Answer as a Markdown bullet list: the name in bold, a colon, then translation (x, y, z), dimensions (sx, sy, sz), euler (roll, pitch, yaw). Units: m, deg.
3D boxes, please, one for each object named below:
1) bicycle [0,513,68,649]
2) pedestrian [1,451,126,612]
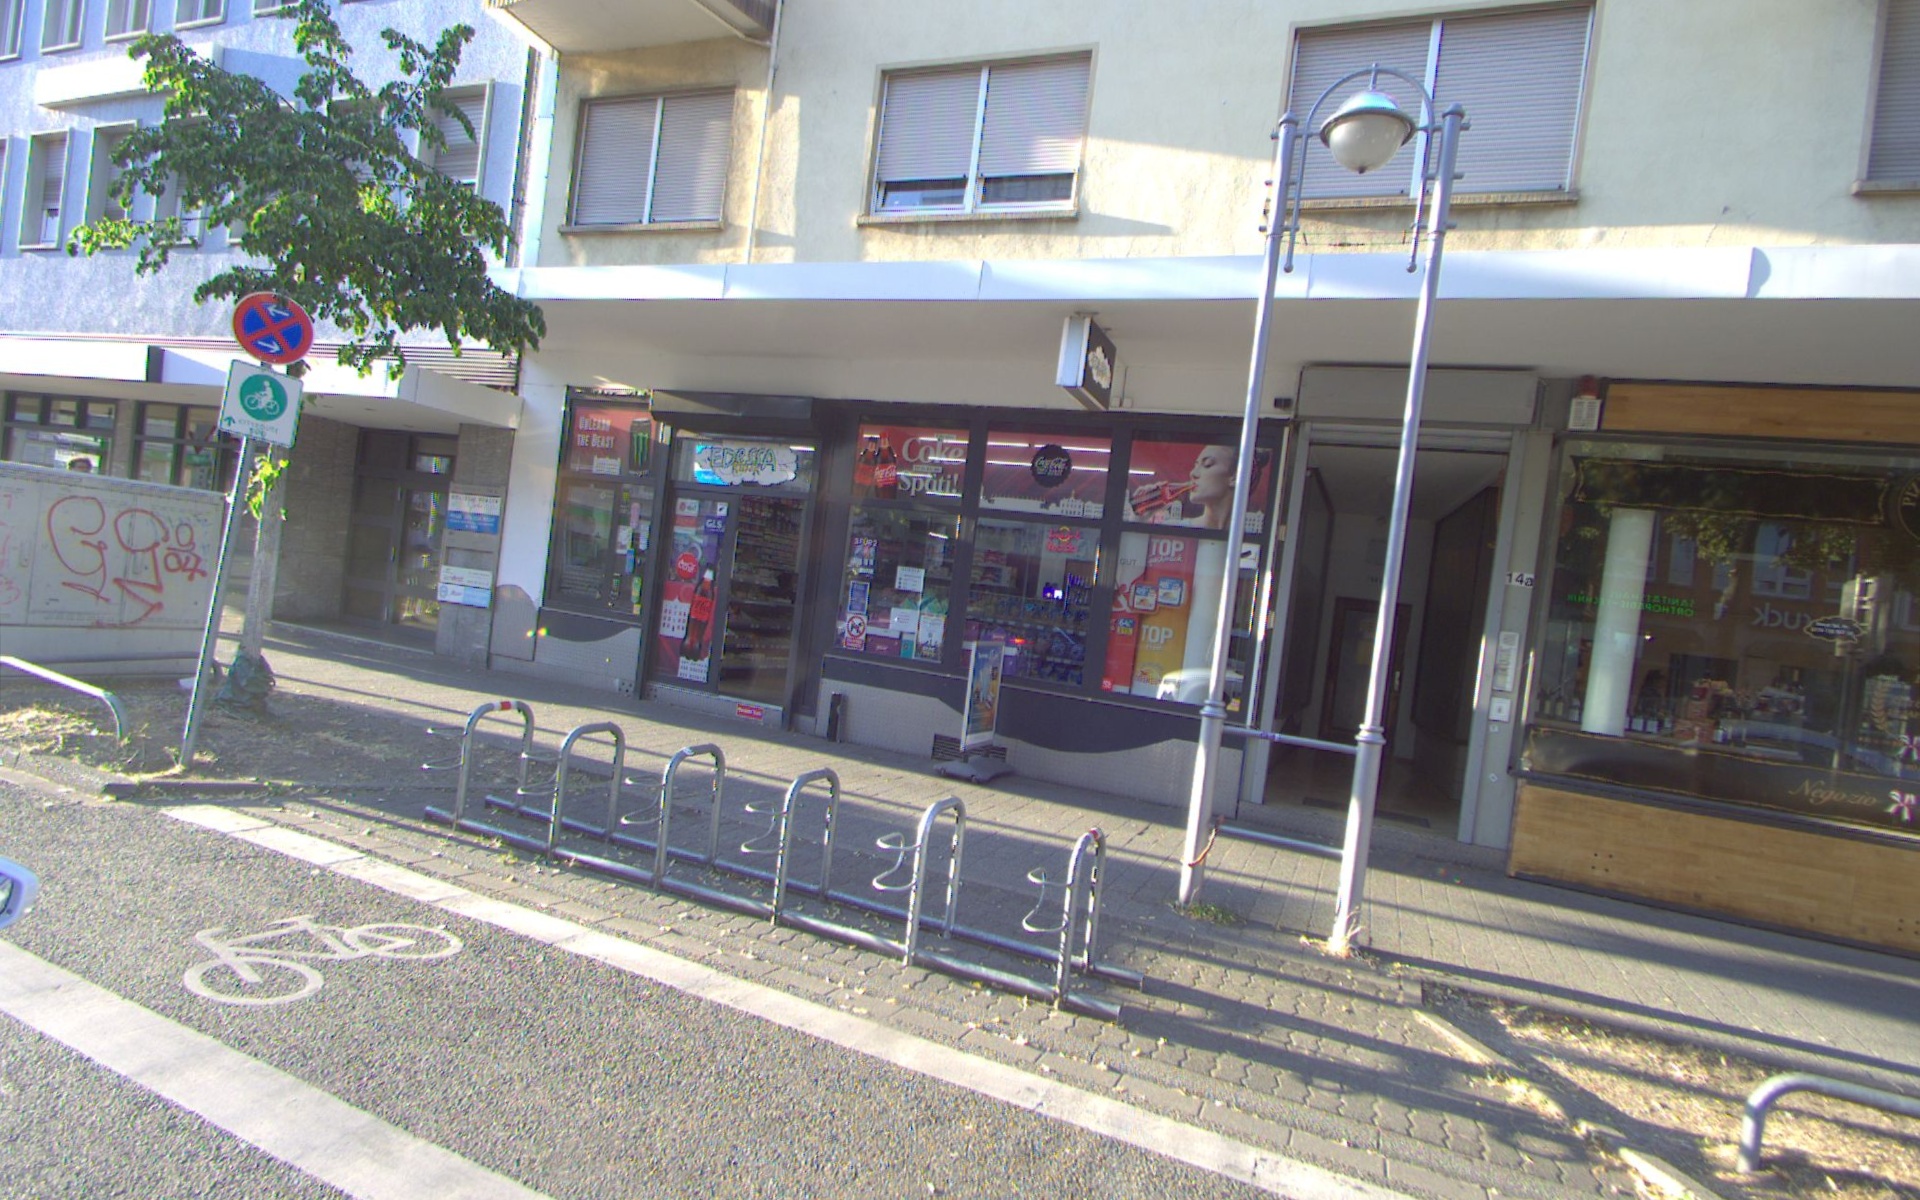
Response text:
- **bicycle**: translation (-9.168, -0.225, 9.144), dimensions (0.376, 1.234, 1.446), euler (7, -1, 25)
- **pedestrian**: translation (-11.143, -0.831, 12.525), dimensions (0.666, 1.865, 0.837), euler (7, 1, 24)
